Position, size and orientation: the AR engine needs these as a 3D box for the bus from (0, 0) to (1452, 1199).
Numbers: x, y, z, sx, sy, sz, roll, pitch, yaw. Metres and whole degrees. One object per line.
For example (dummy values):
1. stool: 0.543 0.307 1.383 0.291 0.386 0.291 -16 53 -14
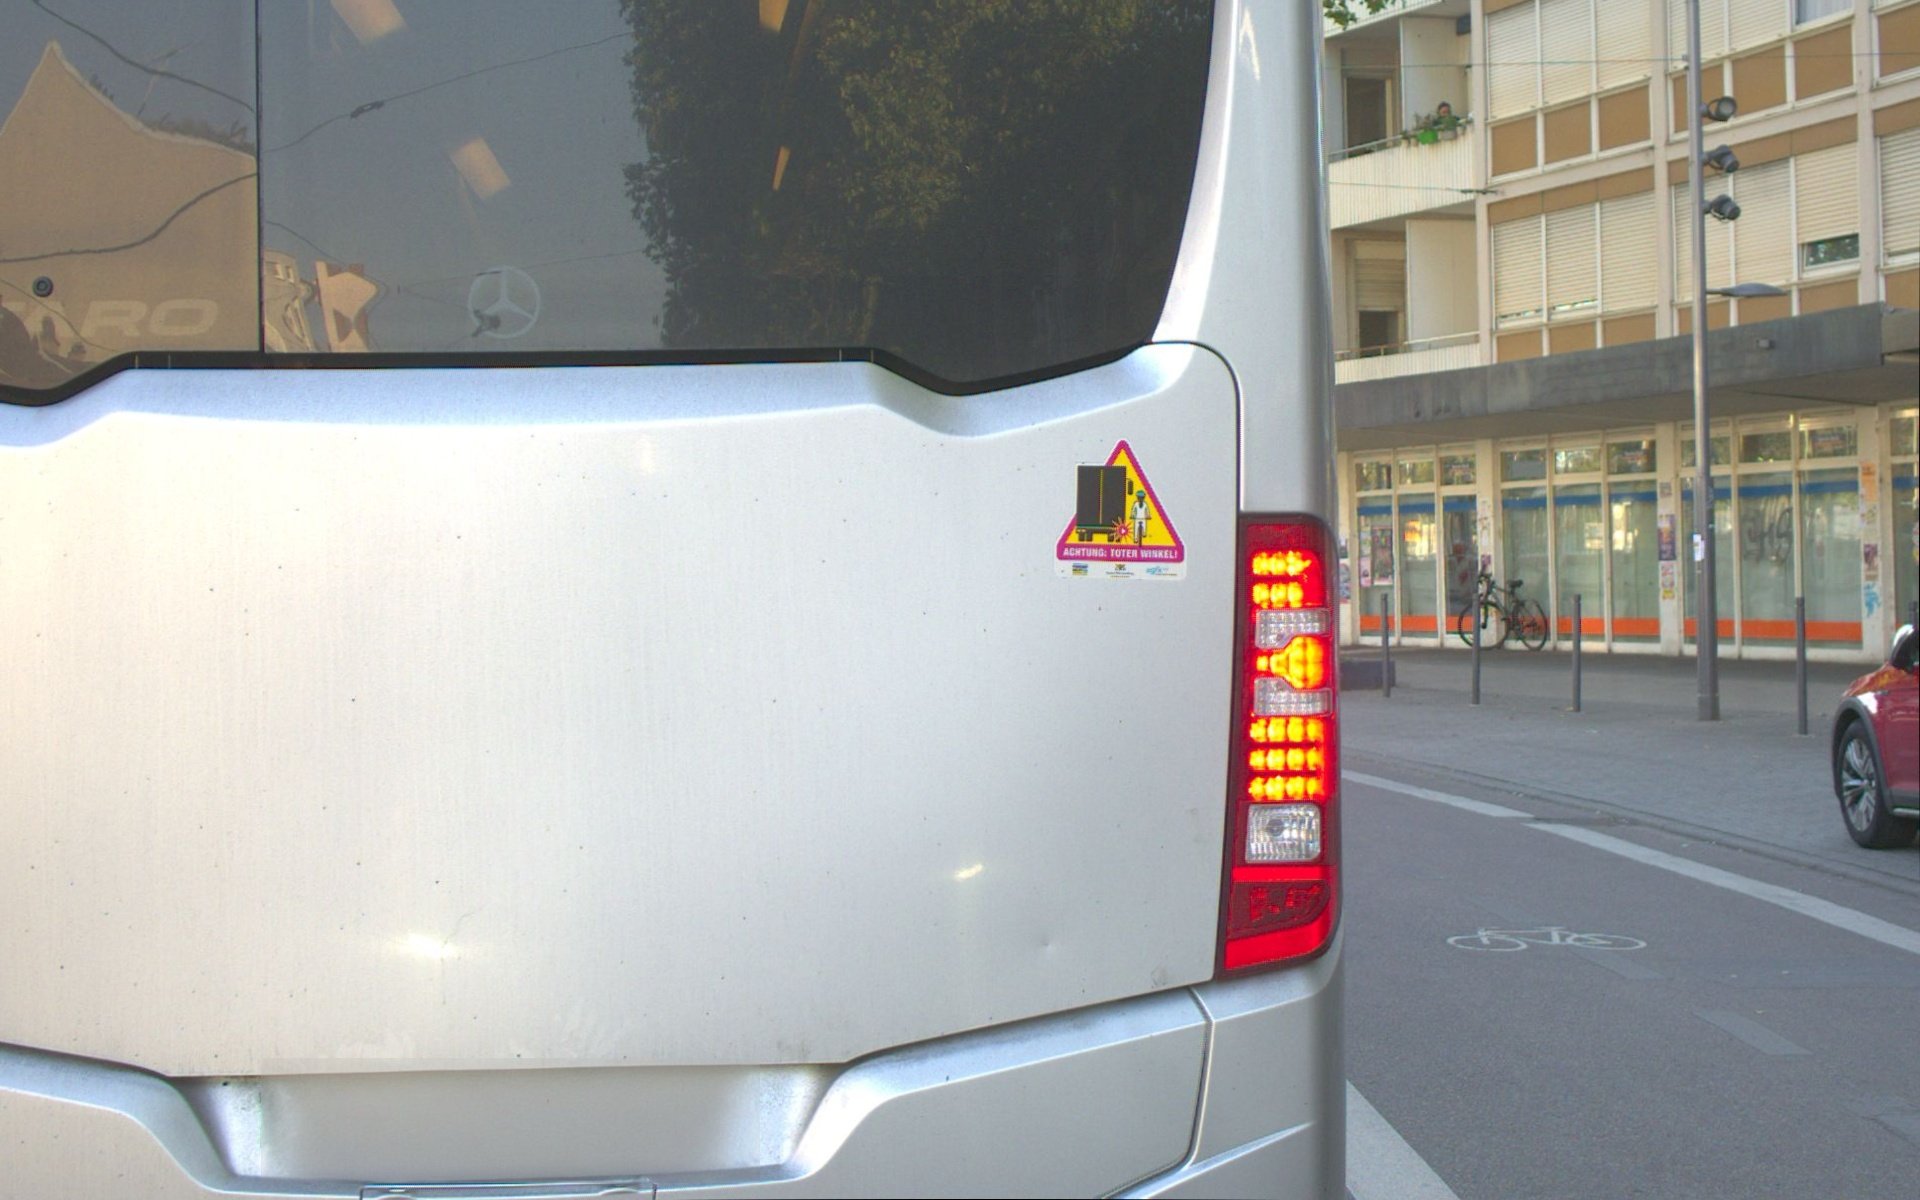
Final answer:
1. bus: -0.697 -0.144 9.778 2.630 3.017 9.998 0 1 -1

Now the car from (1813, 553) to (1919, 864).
1. car: 5.521 0.504 15.860 1.769 1.477 4.304 -2 1 -4

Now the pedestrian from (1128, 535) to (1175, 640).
1. pedestrian: 3.020 -0.197 54.243 0.535 1.643 0.616 -1 1 -17

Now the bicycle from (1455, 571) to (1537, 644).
1. bicycle: 7.099 0.090 45.577 0.412 0.941 1.441 -1 1 -20

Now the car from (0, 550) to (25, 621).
1. car: -25.797 -0.379 88.131 1.994 1.785 3.998 1 0 -41
